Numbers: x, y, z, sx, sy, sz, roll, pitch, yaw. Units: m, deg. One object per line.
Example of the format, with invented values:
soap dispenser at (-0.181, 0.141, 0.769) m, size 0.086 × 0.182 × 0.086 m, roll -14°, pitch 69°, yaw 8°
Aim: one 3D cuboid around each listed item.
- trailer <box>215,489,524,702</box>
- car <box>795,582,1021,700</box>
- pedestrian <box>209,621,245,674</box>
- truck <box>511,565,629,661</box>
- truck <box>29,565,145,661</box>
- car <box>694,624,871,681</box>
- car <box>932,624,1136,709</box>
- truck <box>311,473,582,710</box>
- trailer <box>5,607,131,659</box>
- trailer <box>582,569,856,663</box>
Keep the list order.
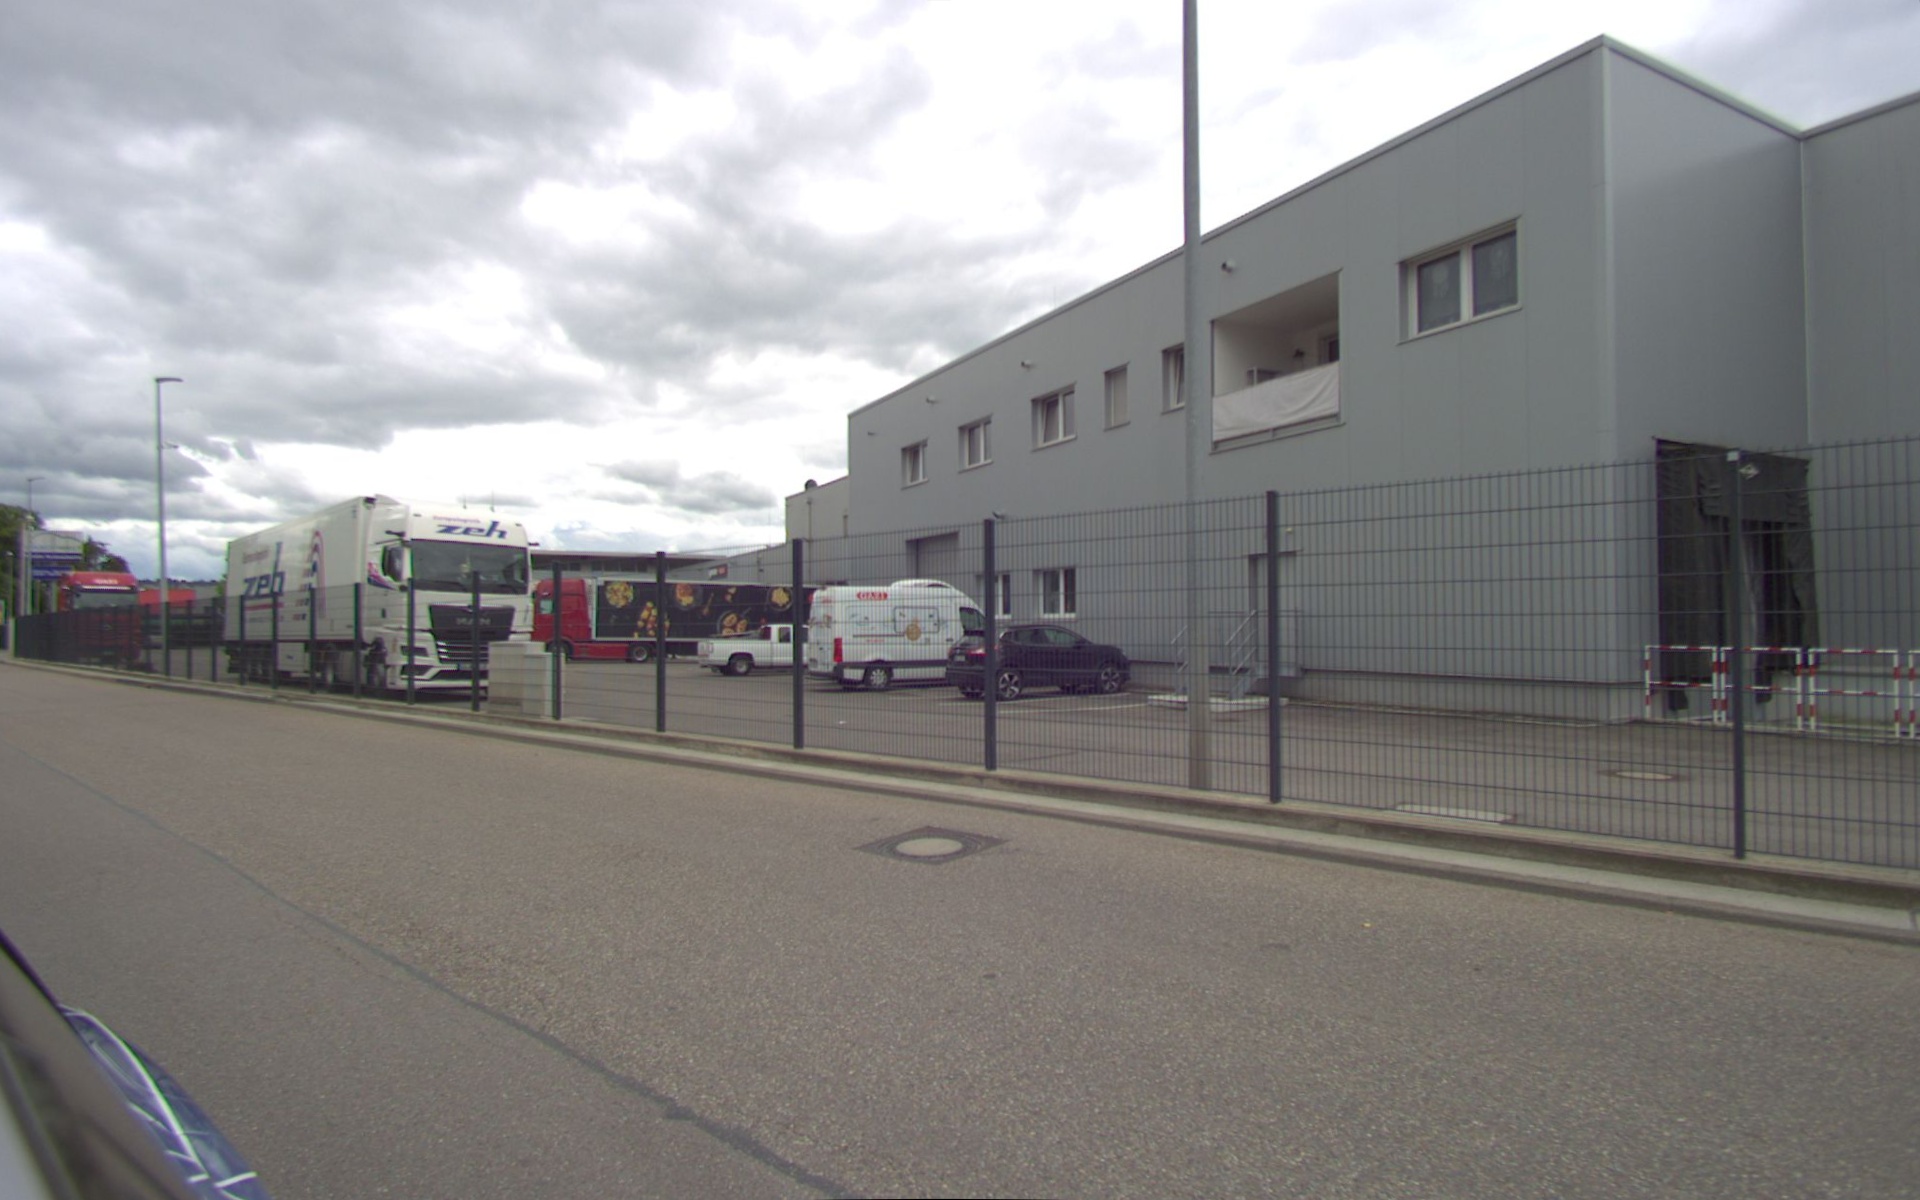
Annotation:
trailer at (-15.744, 0.133, 26.051) m, size 3.321 × 4.192 × 13.855 m, roll 4°, pitch -4°, yaw -45°
car at (-1.317, 0.977, 26.248) m, size 5.341 × 2.751 × 2.248 m, roll -1°, pitch -1°, yaw -30°
pedestrian at (-25.606, 1.645, 35.351) m, size 0.879 × 1.834 × 0.795 m, roll -2°, pitch -2°, yaw 38°
truck at (-18.354, 0.701, 47.616) m, size 4.797 × 4.237 × 3.058 m, roll 2°, pitch -3°, yaw -27°
truck at (-38.091, 0.650, 44.103) m, size 5.668 × 3.879 × 2.982 m, roll -2°, pitch -4°, yaw 42°
car at (-6.026, 1.772, 34.542) m, size 5.595 × 1.823 × 1.950 m, roll 2°, pitch -3°, yaw -27°
car at (1.634, 1.400, 22.330) m, size 4.010 × 1.589 × 1.950 m, roll -1°, pitch -1°, yaw -28°
truck at (-10.800, -0.028, 21.096) m, size 5.630 × 4.192 × 3.321 m, roll -2°, pitch -4°, yaw 45°
trailer at (-42.489, 1.591, 48.009) m, size 12.043 × 2.209 × 3.006 m, roll -2°, pitch -4°, yaw 42°
trailer at (-11.889, 0.951, 50.851) m, size 12.962 × 4.245 × 3.058 m, roll 2°, pitch -3°, yaw -27°
